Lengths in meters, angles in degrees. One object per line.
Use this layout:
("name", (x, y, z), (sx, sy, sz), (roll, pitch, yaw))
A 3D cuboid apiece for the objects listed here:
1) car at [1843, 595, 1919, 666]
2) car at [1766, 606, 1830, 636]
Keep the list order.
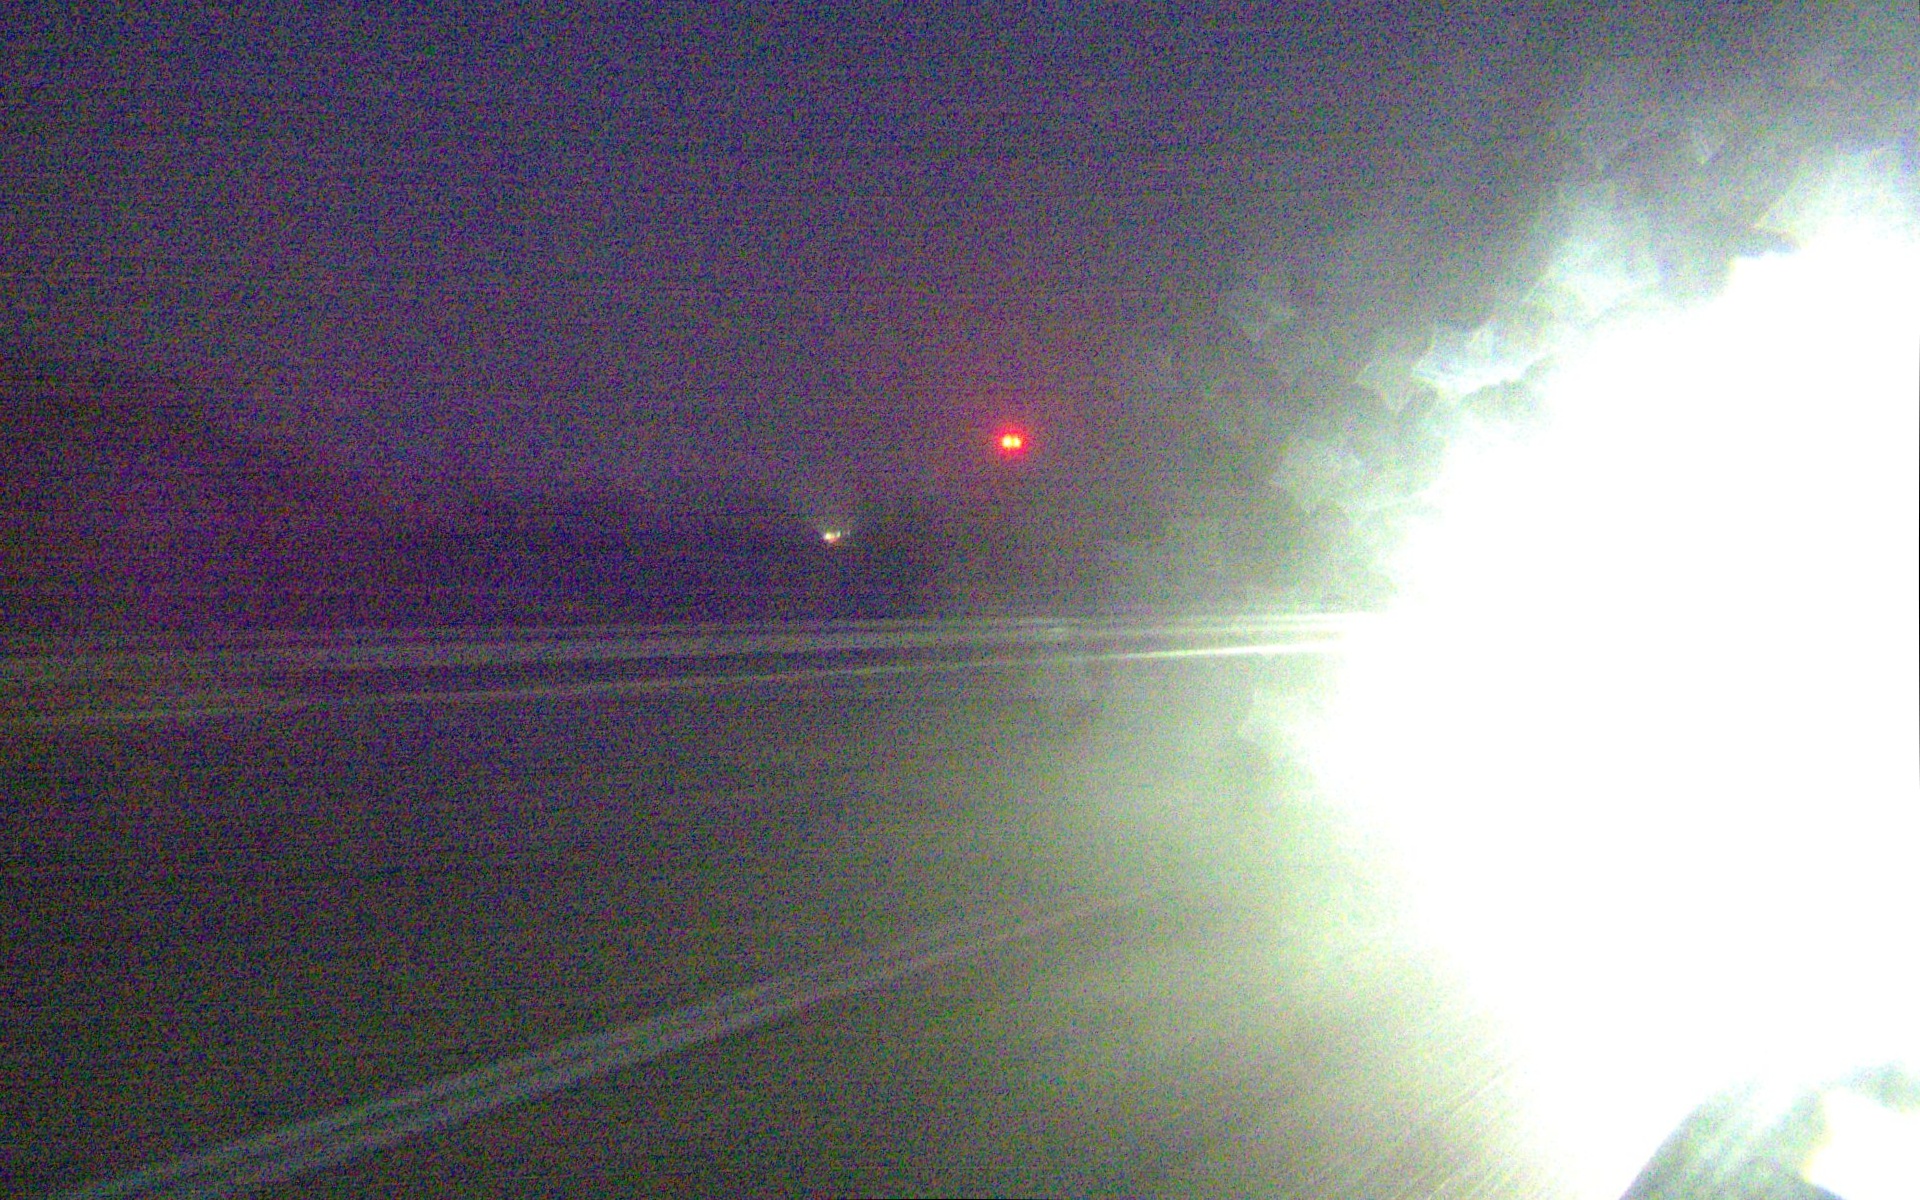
("car", (22.509, 0.659, 23.831), (4.930, 1.538, 2.060), (0, 0, -42))
("car", (44.497, 1.095, 53.709), (3.968, 1.516, 1.724), (1, -1, -36))
